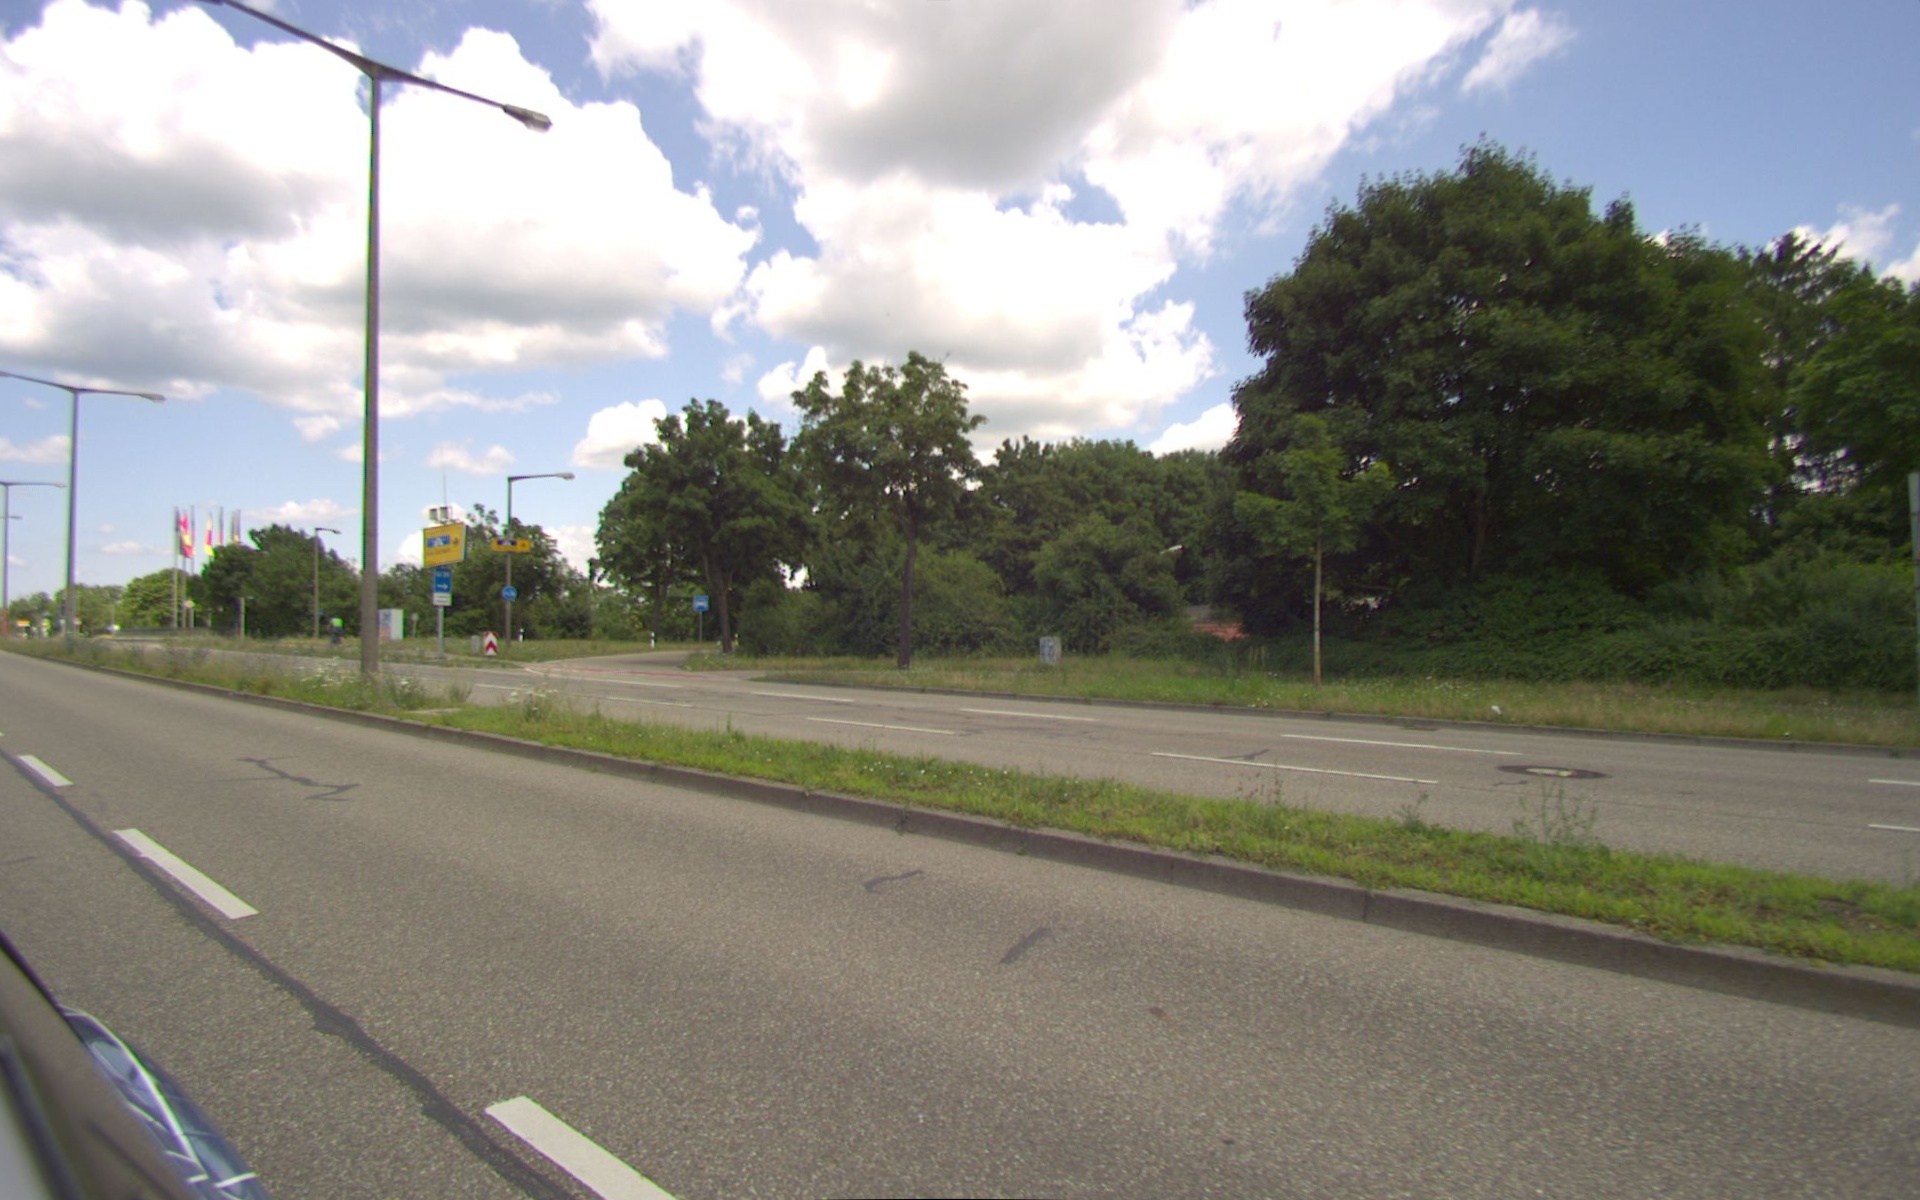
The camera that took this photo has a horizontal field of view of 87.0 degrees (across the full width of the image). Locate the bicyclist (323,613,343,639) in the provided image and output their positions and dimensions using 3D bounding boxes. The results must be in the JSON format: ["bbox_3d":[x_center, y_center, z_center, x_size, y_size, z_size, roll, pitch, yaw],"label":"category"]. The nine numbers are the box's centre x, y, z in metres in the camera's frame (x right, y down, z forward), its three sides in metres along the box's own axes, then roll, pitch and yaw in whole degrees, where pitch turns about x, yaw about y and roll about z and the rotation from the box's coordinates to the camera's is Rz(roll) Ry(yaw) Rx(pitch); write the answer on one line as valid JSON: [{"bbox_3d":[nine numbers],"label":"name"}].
[{"bbox_3d":[-31.654,1.320,51.100,1.106,1.282,0.515,-3,-2,39],"label":"bicyclist"}]

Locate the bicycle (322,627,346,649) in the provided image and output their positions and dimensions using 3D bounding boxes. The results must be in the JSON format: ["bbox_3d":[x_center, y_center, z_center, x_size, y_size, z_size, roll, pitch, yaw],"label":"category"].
[{"bbox_3d":[-31.588,1.919,51.052,1.906,1.076,0.427,-3,-2,40],"label":"bicycle"}]
